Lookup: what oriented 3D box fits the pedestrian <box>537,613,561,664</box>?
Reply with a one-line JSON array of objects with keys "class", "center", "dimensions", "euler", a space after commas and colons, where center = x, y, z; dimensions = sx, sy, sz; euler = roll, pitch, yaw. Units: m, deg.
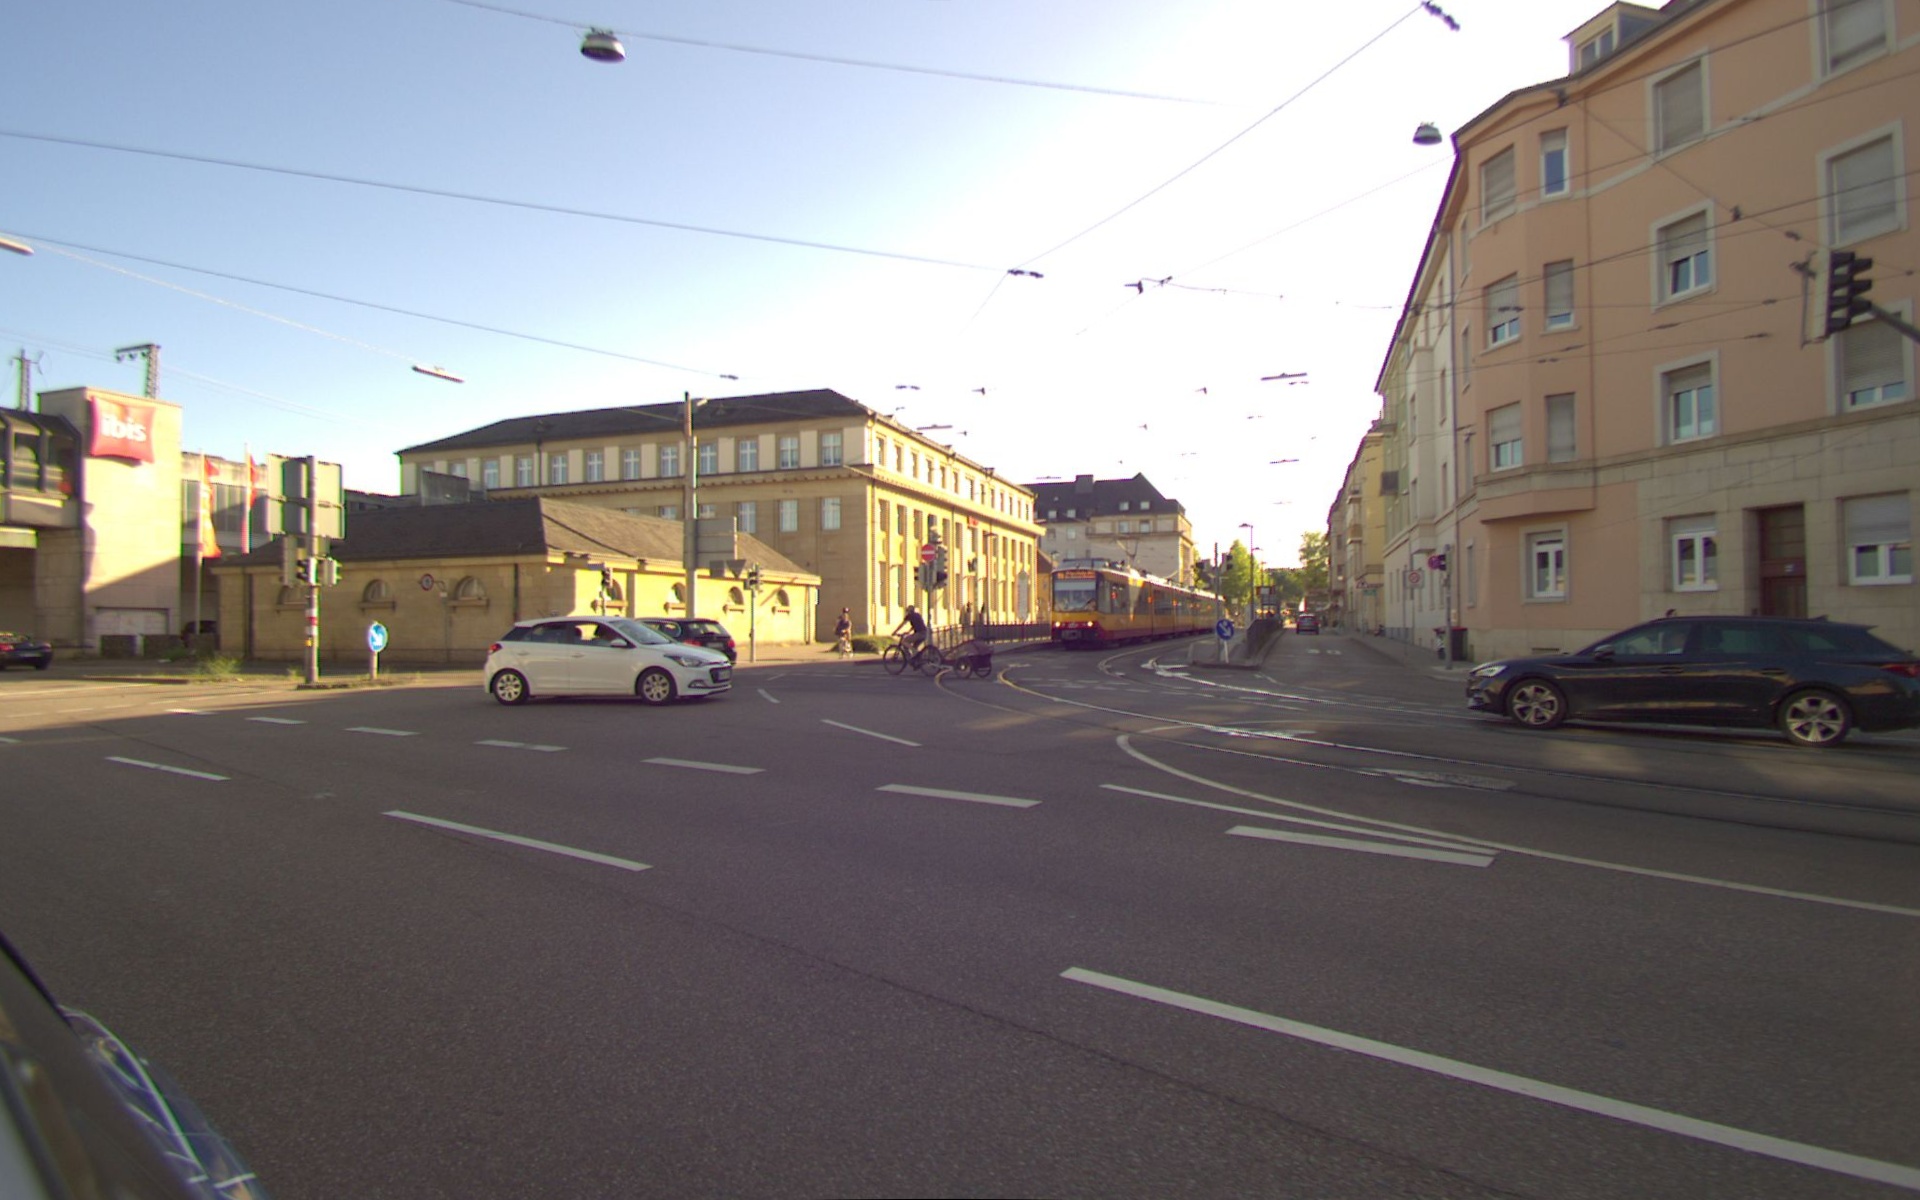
[{"class": "pedestrian", "center": [-13.335, 1.238, 32.827], "dimensions": [0.615, 1.652, 0.515], "euler": [0, -2, -8]}]

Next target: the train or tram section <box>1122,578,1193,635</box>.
[{"class": "train or tram section", "center": [12.989, 0.430, 65.707], "dimensions": [3.140, 3.382, 10.783], "euler": [-1, 0, 18]}]

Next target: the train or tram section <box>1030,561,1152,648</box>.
[{"class": "train or tram section", "center": [6.099, 0.292, 44.922], "dimensions": [3.142, 3.346, 11.745], "euler": [-1, -1, 18]}]

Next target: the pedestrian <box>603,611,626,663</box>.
[{"class": "pedestrian", "center": [-11.059, 1.177, 32.429], "dimensions": [0.615, 1.652, 0.490], "euler": [0, -2, -8]}]

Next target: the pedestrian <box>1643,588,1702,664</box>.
[{"class": "pedestrian", "center": [15.083, 0.548, 21.423], "dimensions": [0.666, 1.575, 0.722], "euler": [0, -2, -15]}]

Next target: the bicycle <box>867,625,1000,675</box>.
[{"class": "bicycle", "center": [-0.658, 1.123, 23.125], "dimensions": [3.354, 1.064, 0.923], "euler": [-2, -2, 43]}]

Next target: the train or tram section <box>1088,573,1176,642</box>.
[{"class": "train or tram section", "center": [9.622, 0.410, 55.505], "dimensions": [3.140, 3.382, 10.615], "euler": [-1, 0, 18]}]

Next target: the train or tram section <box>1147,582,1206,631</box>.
[{"class": "train or tram section", "center": [16.390, 0.449, 75.903], "dimensions": [3.140, 3.382, 10.783], "euler": [-1, 0, 18]}]

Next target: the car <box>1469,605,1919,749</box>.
[{"class": "car", "center": [8.806, 0.846, 12.228], "dimensions": [4.489, 1.466, 1.905], "euler": [-2, -2, 36]}]

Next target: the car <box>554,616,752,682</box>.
[{"class": "car", "center": [-7.196, 1.109, 23.587], "dimensions": [4.548, 1.403, 1.978], "euler": [-1, -2, 33]}]

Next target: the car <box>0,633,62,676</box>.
[{"class": "car", "center": [-34.269, 1.921, 35.995], "dimensions": [4.299, 1.436, 1.815], "euler": [-1, -1, 23]}]

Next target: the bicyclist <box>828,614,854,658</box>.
[{"class": "bicyclist", "center": [-4.554, 1.376, 38.684], "dimensions": [0.671, 1.652, 0.935], "euler": [-1, -1, 14]}]

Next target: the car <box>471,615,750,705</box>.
[{"class": "car", "center": [-5.752, 0.980, 16.881], "dimensions": [4.058, 1.404, 1.787], "euler": [-1, -1, 9]}]

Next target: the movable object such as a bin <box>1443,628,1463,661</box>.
[{"class": "movable object such as a bin", "center": [15.669, 1.409, 32.162], "dimensions": [0.479, 1.040, 0.448], "euler": [-1, -2, 19]}]

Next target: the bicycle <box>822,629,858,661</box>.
[{"class": "bicycle", "center": [-4.566, 1.709, 38.636], "dimensions": [0.679, 1.145, 2.065], "euler": [-1, 0, 13]}]

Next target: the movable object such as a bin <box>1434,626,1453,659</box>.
[{"class": "movable object such as a bin", "center": [15.831, 1.400, 33.125], "dimensions": [0.479, 1.074, 0.448], "euler": [-1, -2, 19]}]

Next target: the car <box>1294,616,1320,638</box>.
[{"class": "car", "center": [28.679, 2.246, 83.686], "dimensions": [1.895, 1.752, 4.271], "euler": [-1, -2, 19]}]

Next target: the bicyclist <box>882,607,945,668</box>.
[{"class": "bicyclist", "center": [-1.085, 0.866, 23.543], "dimensions": [1.148, 1.393, 0.924], "euler": [-2, -2, 42]}]
